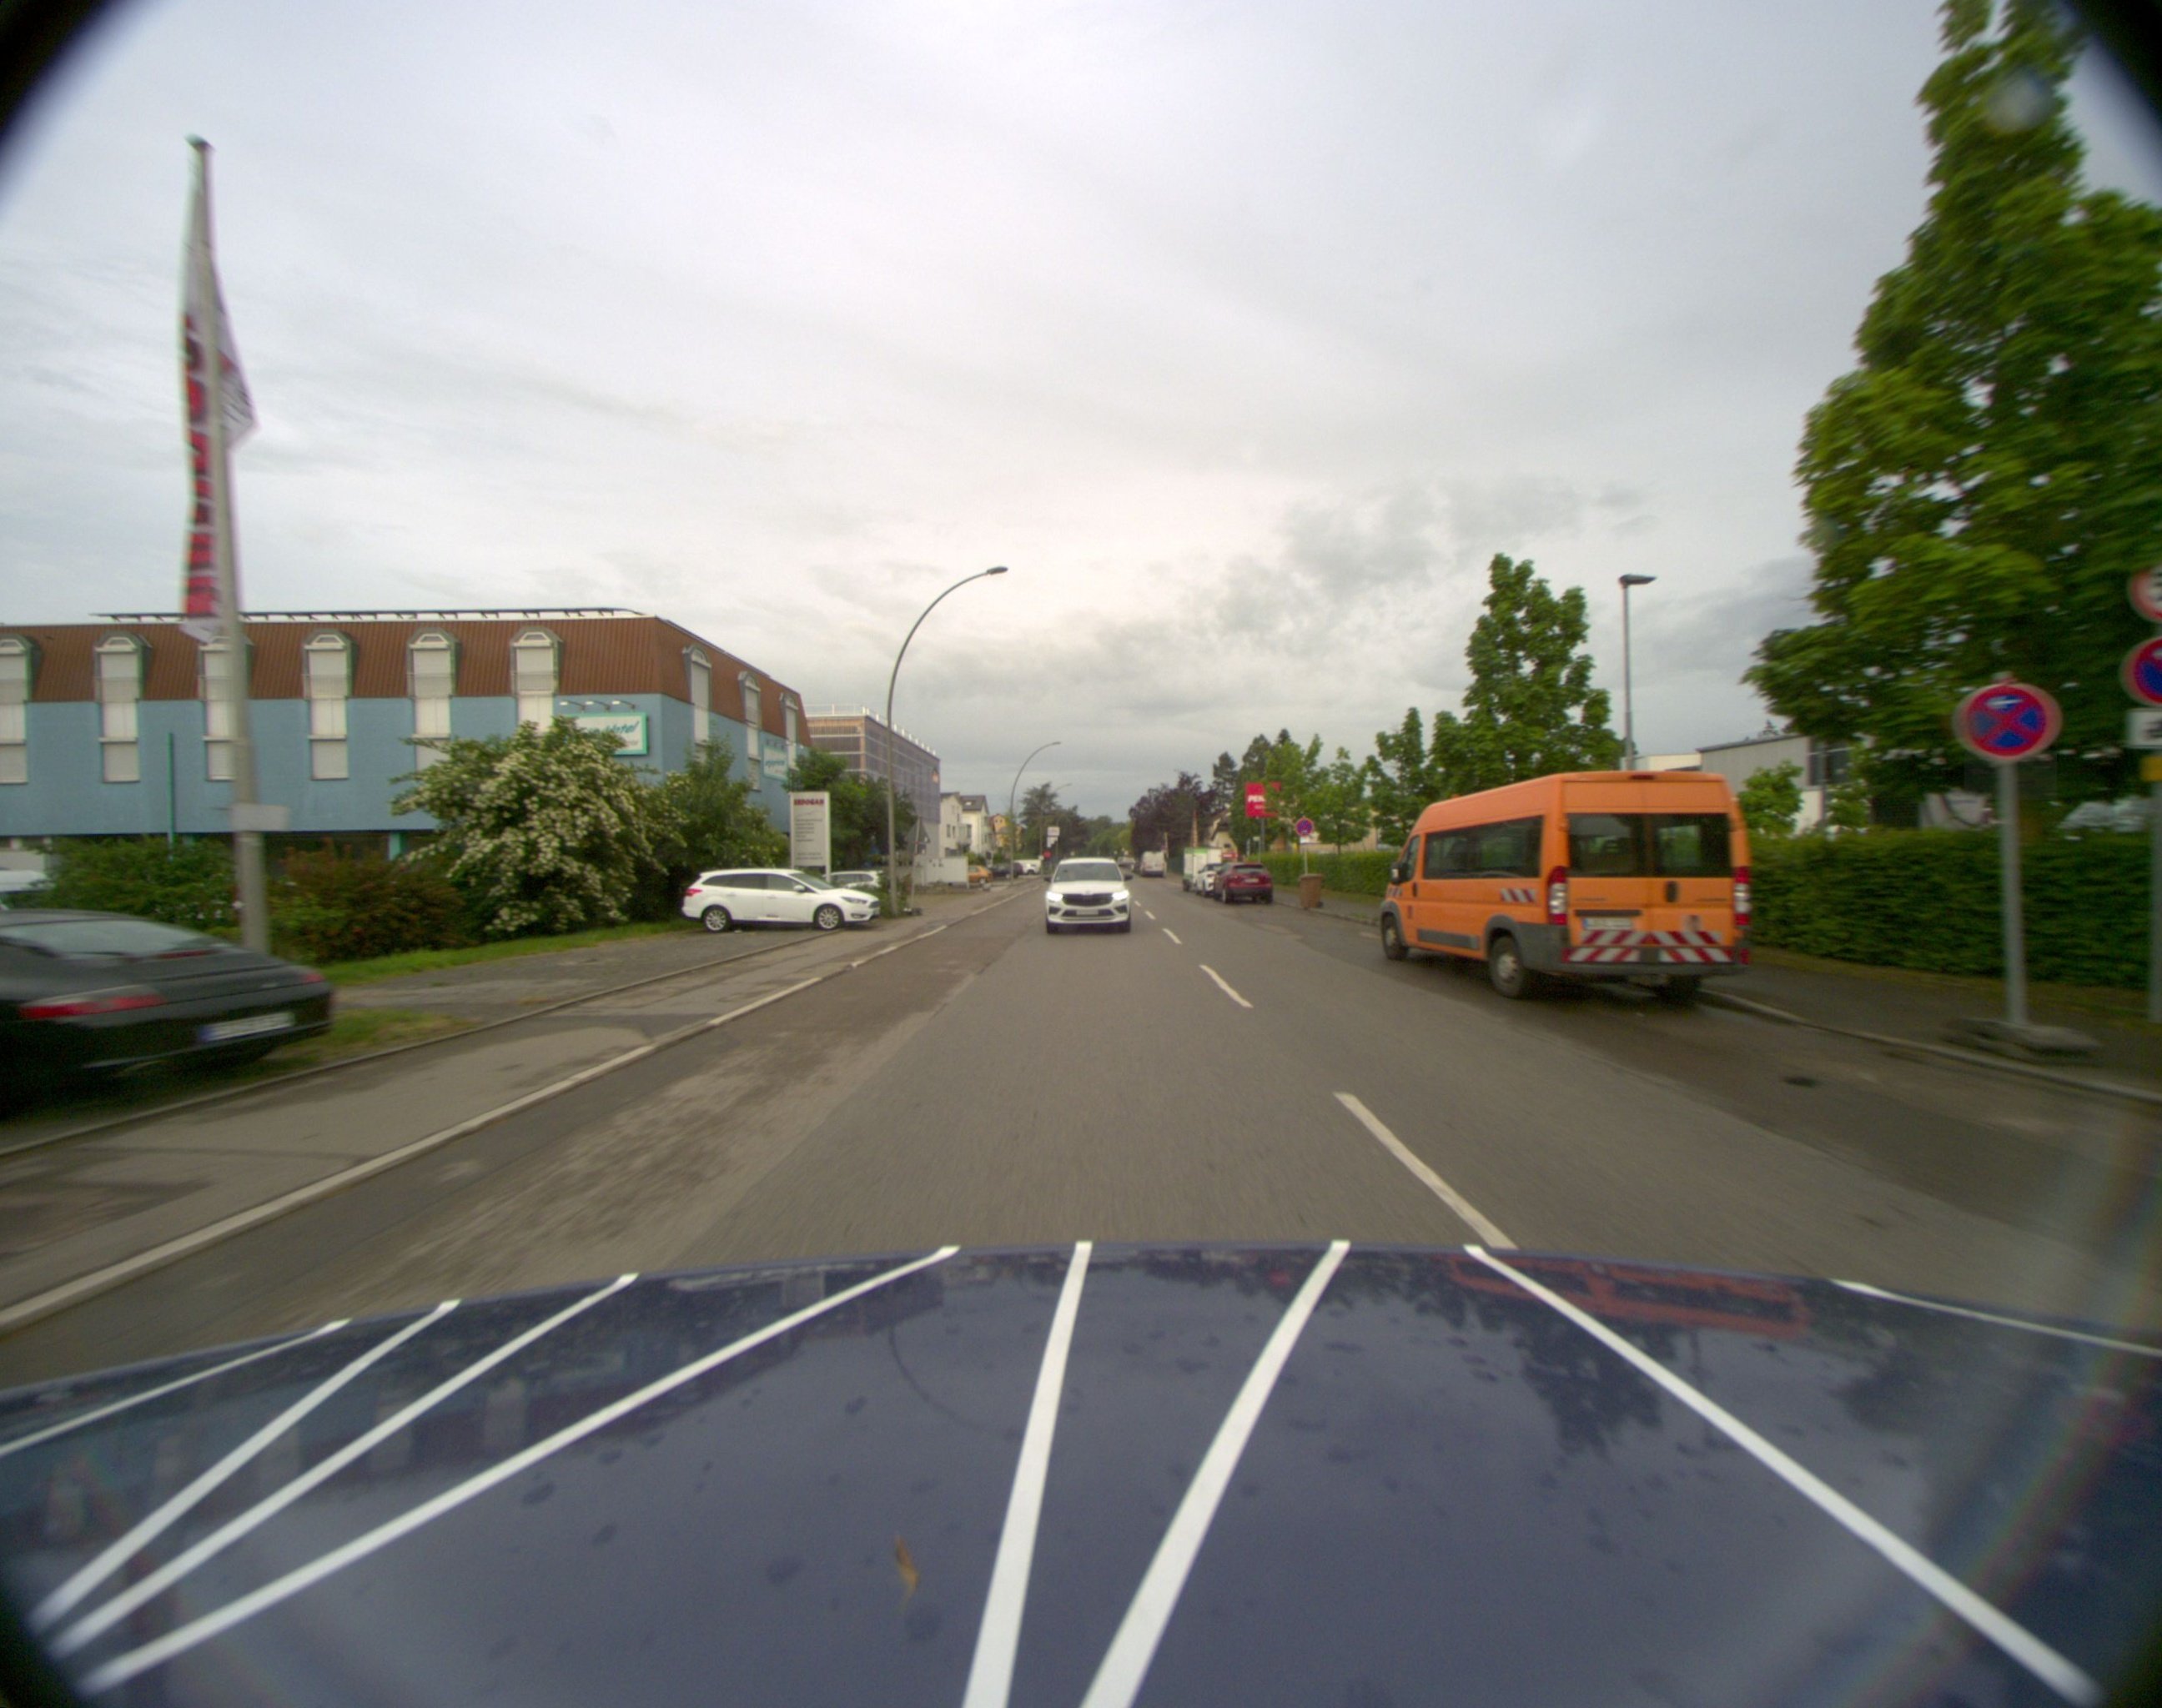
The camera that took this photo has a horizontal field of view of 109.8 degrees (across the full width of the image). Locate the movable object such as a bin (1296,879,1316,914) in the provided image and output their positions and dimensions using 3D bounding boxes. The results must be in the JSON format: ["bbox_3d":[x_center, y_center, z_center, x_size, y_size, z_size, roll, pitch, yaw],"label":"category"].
[{"bbox_3d":[7.399,1.391,24.973,0.492,1.076,0.621,-2,1,6],"label":"movable object such as a bin"}]

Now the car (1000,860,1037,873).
[{"bbox_3d":[-7.662,1.490,93.293,4.331,1.371,1.850,-2,1,0],"label":"car"}]

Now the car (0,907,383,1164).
[{"bbox_3d":[-7.697,1.139,5.244,3.996,1.259,1.951,-2,0,3],"label":"car"}]

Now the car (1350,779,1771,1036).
[{"bbox_3d":[5.821,0.550,10.547,2.130,2.522,6.022,-1,0,1],"label":"car"}]

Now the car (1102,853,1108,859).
[{"bbox_3d":[7.176,0.652,226.395,1.898,1.678,4.231,0,0,2],"label":"car"}]

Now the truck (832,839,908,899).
[{"bbox_3d":[-14.123,0.960,51.092,4.155,3.652,2.719,-4,1,-1],"label":"truck"}]

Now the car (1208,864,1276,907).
[{"bbox_3d":[6.314,1.189,30.268,1.810,1.564,4.343,0,0,1],"label":"car"}]

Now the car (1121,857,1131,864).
[{"bbox_3d":[9.254,1.292,156.354,1.820,1.419,4.981,0,0,2],"label":"car"}]

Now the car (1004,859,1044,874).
[{"bbox_3d":[-6.759,1.515,90.453,4.456,1.615,1.893,-2,1,0],"label":"car"}]

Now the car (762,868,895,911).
[{"bbox_3d":[-9.599,1.334,29.123,4.427,1.384,1.880,-2,0,-1],"label":"car"}]

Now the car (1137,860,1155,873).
[{"bbox_3d":[7.663,1.407,89.470,1.665,1.440,4.317,1,0,0],"label":"car"}]

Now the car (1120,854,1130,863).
[{"bbox_3d":[9.303,1.030,161.791,1.898,1.881,5.210,0,0,2],"label":"car"}]

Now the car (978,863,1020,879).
[{"bbox_3d":[-8.334,1.687,77.084,3.975,1.481,1.833,-2,0,2],"label":"car"}]

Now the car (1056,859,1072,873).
[{"bbox_3d":[-1.952,1.418,89.630,1.743,1.458,4.545,-2,0,0],"label":"car"}]

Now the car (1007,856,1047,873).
[{"bbox_3d":[-6.764,1.332,95.724,4.743,1.875,2.000,-2,1,1],"label":"car"}]

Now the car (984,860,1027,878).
[{"bbox_3d":[-7.882,1.569,79.319,4.237,1.665,1.981,-2,1,1],"label":"car"}]

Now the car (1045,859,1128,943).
[{"bbox_3d":[0.087,0.995,17.914,1.692,1.651,3.999,-2,0,-1],"label":"car"}]

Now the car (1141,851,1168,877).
[{"bbox_3d":[7.434,0.961,77.395,2.163,2.413,6.460,2,0,1],"label":"car"}]

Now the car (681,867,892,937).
[{"bbox_3d":[-7.028,1.125,18.479,4.349,1.467,1.903,-2,1,0],"label":"car"}]

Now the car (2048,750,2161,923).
[{"bbox_3d":[14.657,-0.283,8.755,4.316,2.002,2.063,-2,1,1],"label":"car"}]

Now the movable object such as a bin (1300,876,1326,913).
[{"bbox_3d":[7.415,1.289,24.293,0.674,1.151,0.621,-2,1,6],"label":"movable object such as a bin"}]

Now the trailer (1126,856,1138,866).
[{"bbox_3d":[9.045,1.222,135.667,1.934,1.755,4.548,-2,0,2],"label":"trailer"}]

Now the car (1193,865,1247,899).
[{"bbox_3d":[6.386,1.254,35.384,1.777,1.490,4.137,-1,-1,1],"label":"car"}]

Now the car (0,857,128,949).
[{"bbox_3d":[-34.328,1.548,23.723,5.942,2.694,2.449,-2,1,0],"label":"car"}]

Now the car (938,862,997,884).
[{"bbox_3d":[-8.135,1.346,54.700,3.997,1.422,1.630,-1,0,0],"label":"car"}]

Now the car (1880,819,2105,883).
[{"bbox_3d":[24.797,-0.087,20.770,4.066,1.542,1.885,-2,1,-3],"label":"car"}]

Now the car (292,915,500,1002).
[{"bbox_3d":[-16.692,2.473,18.805,1.804,1.576,3.655,-2,0,-1],"label":"car"}]

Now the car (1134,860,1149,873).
[{"bbox_3d":[7.867,1.552,98.679,1.665,1.575,3.916,1,0,0],"label":"car"}]

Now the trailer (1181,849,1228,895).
[{"bbox_3d":[6.690,0.941,41.574,1.817,2.300,4.730,1,0,1],"label":"trailer"}]

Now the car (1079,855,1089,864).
[{"bbox_3d":[0.675,1.195,162.703,1.735,1.817,5.553,-3,0,2],"label":"car"}]
